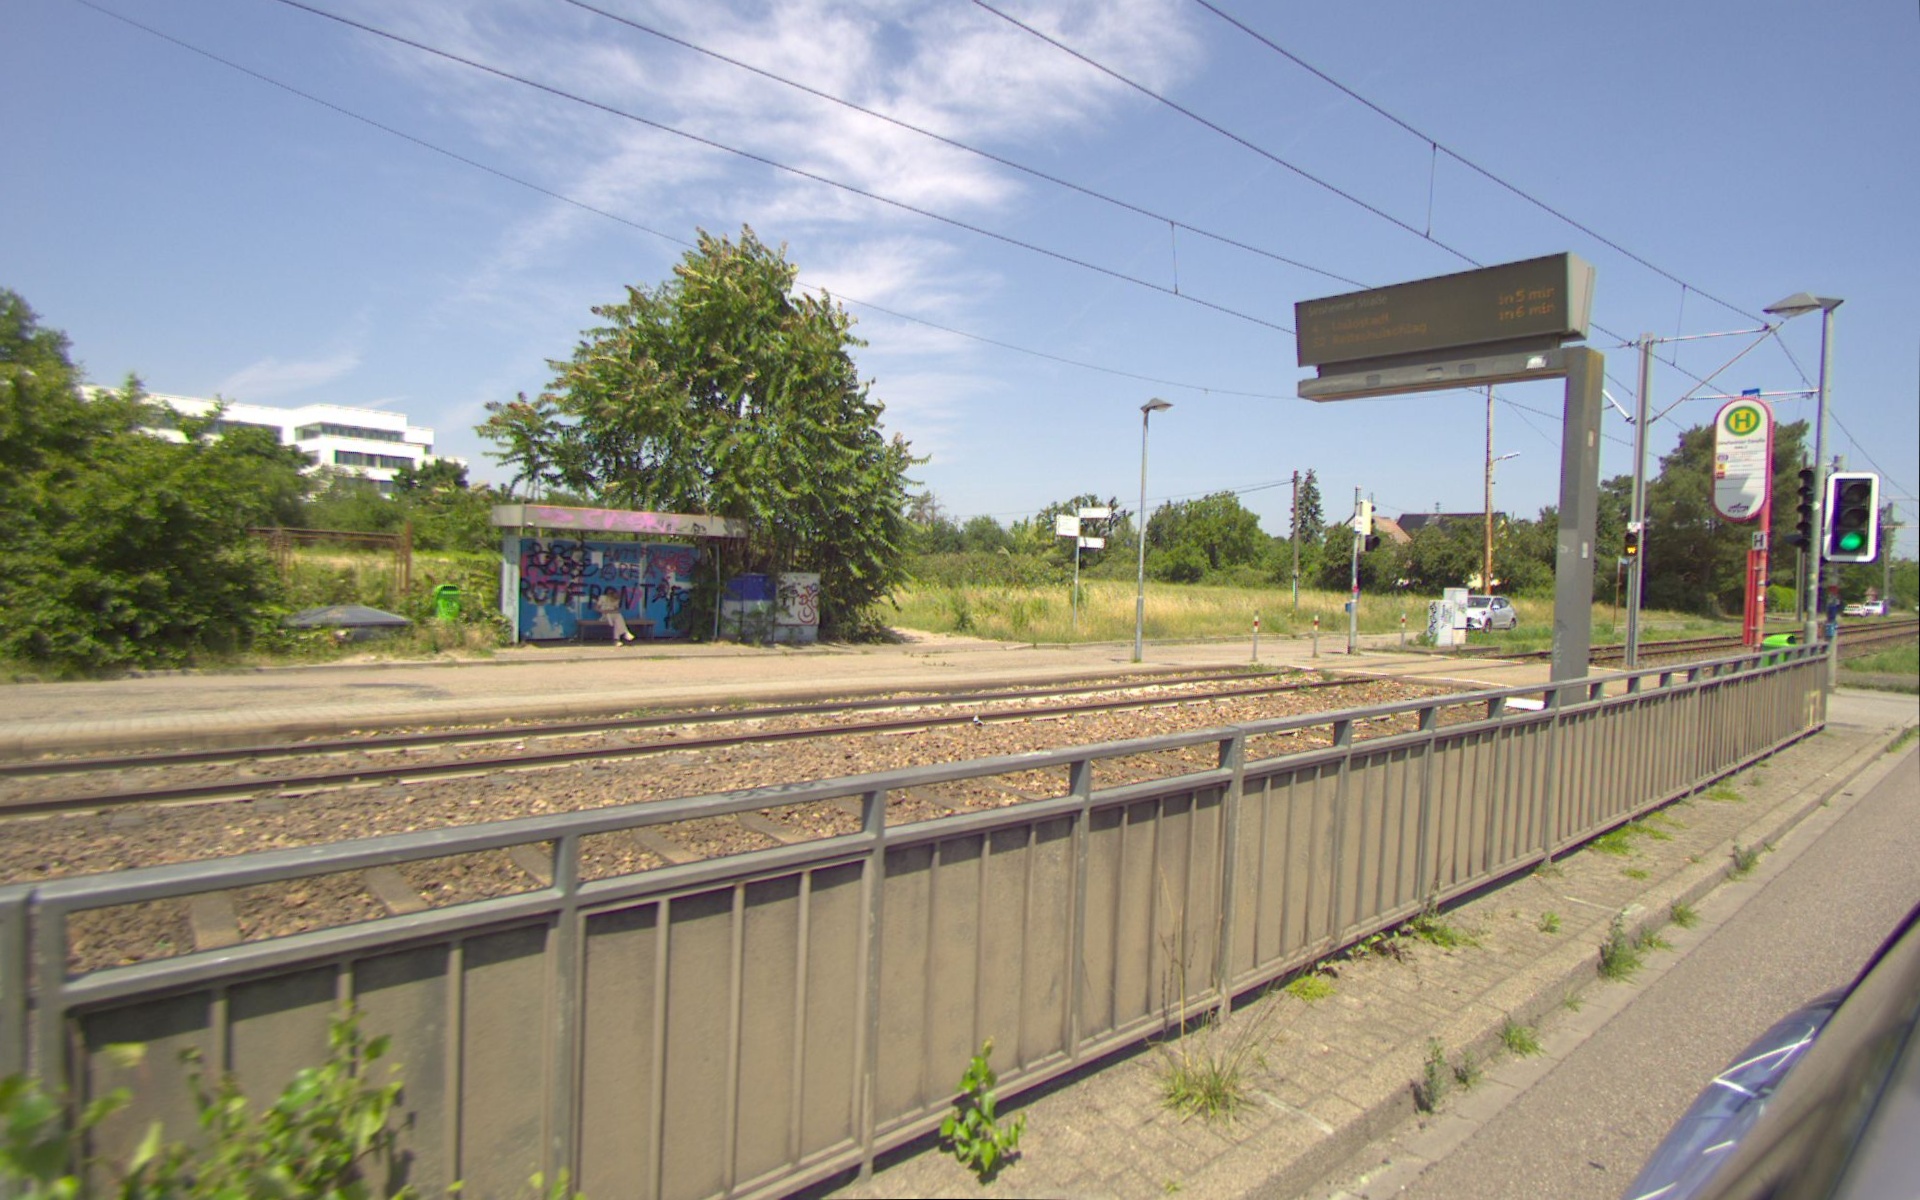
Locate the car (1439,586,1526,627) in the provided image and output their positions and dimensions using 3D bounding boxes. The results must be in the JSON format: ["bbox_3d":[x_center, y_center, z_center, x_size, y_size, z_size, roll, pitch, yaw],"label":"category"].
[{"bbox_3d":[20.520,0.223,39.700,3.931,1.507,1.716,0,1,-41],"label":"car"}]

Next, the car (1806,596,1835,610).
[{"bbox_3d":[93.071,0.321,109.462,3.931,1.401,1.921,0,1,-42],"label":"car"}]

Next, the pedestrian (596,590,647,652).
[{"bbox_3d":[-6.285,0.379,18.777,0.704,1.100,0.812,1,1,-32],"label":"pedestrian"}]

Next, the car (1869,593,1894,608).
[{"bbox_3d":[117.167,0.070,128.654,4.508,1.849,1.861,0,1,-42],"label":"car"}]
